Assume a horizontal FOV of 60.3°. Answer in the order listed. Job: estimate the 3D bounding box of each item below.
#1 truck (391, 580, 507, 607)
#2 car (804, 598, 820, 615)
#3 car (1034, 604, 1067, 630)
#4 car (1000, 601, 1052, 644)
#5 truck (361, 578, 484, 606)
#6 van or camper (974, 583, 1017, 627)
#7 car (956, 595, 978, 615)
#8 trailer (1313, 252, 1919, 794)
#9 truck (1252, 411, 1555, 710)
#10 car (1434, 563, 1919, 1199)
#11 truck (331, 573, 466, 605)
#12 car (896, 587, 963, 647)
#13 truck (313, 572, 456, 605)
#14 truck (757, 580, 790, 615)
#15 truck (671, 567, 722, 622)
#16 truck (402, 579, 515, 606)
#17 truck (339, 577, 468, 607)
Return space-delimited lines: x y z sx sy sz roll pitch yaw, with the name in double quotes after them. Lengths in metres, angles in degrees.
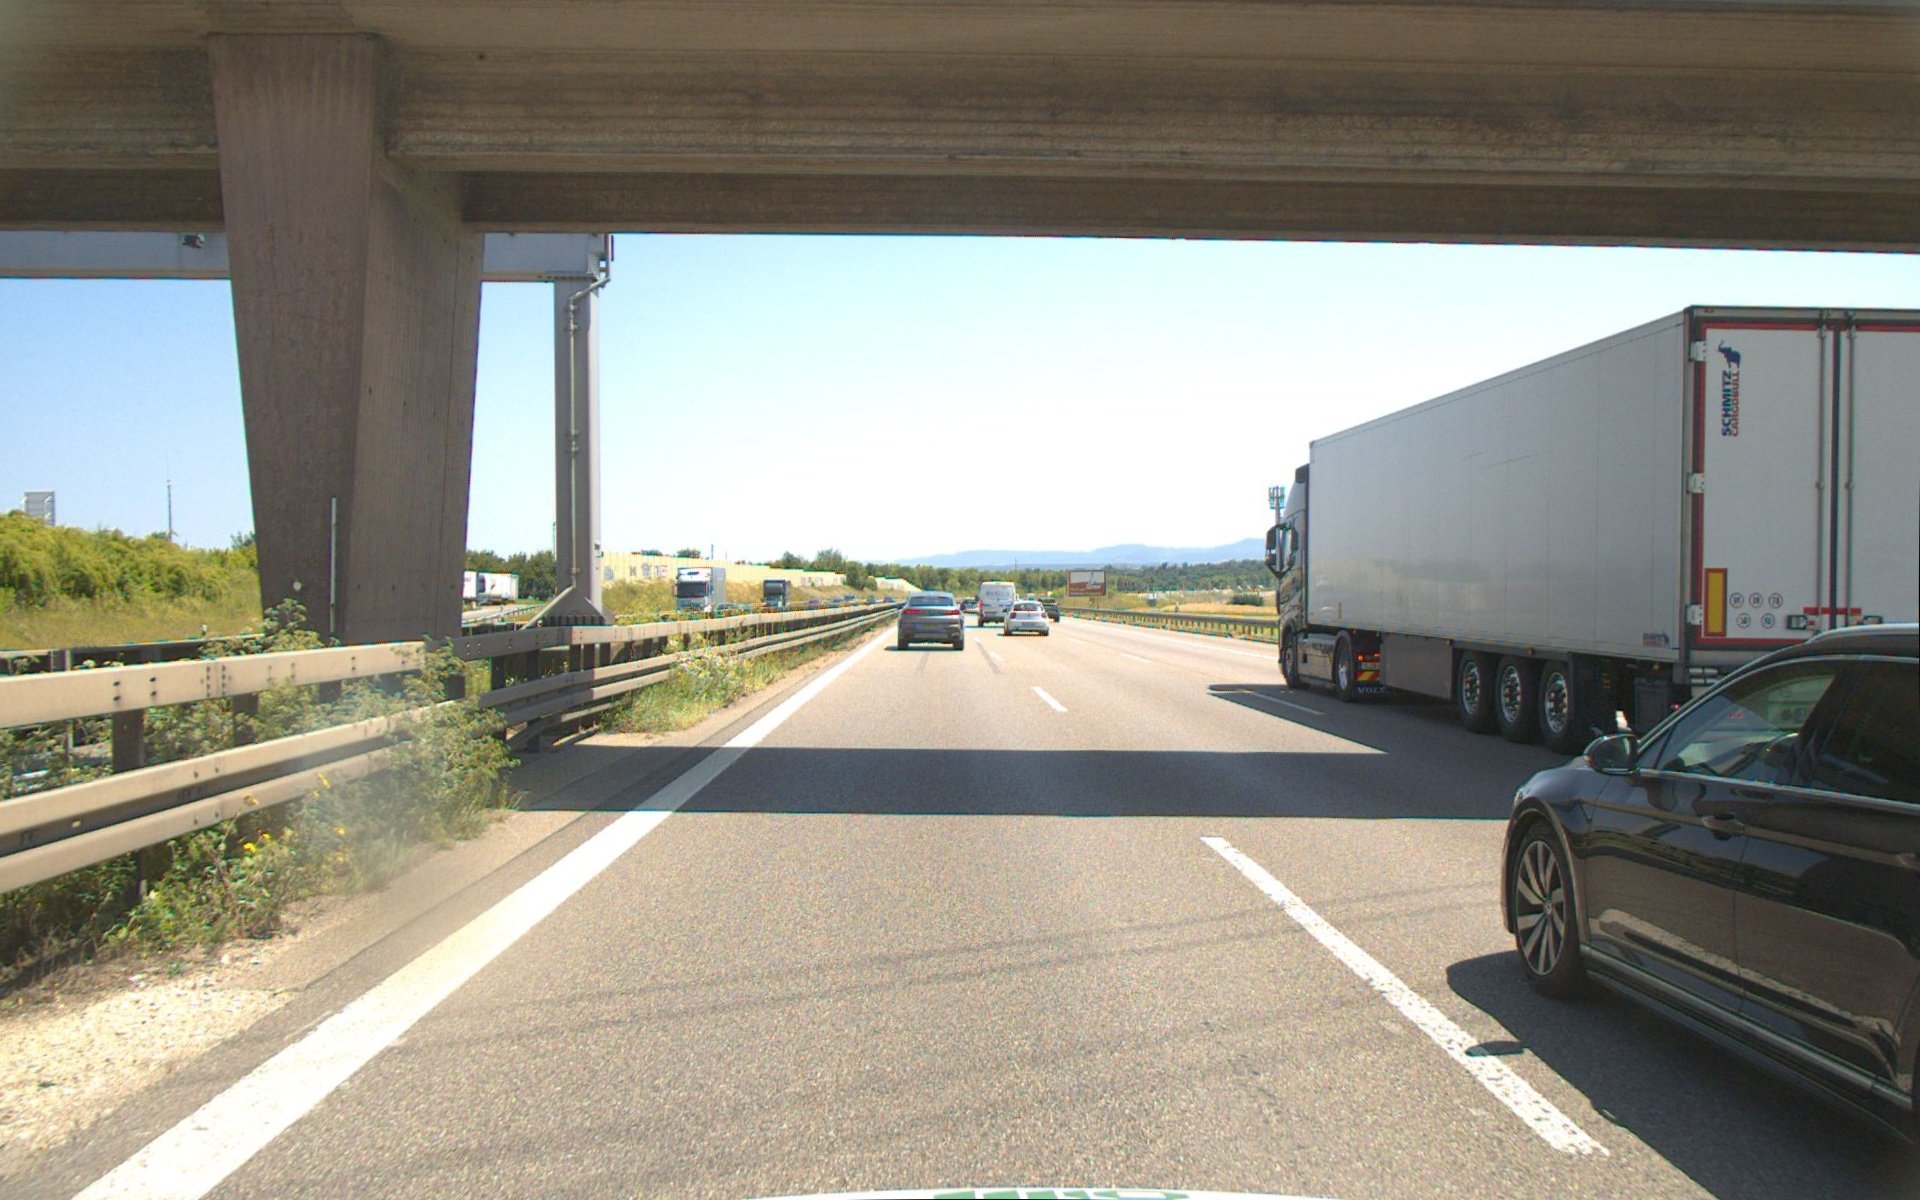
-64.165 -0.803 208.144 2.618 3.194 14.350 1 0 45 "truck"
-15.754 0.664 176.001 1.517 1.693 4.225 1 0 -4 "car"
6.164 1.135 113.244 1.953 1.712 3.999 1 0 -1 "car"
2.729 0.934 69.316 1.953 1.712 3.999 1 0 -1 "car"
-64.331 -0.919 198.416 2.618 3.194 14.350 1 0 45 "truck"
1.878 0.257 88.560 2.068 2.250 5.264 1 0 -1 "van or camper"
0.669 0.452 152.854 1.953 1.712 3.999 1 0 -1 "car"
7.258 -0.602 19.932 2.883 4.271 13.594 1 0 -1 "trailer"
7.147 -0.578 27.921 2.918 4.301 7.686 1 0 -1 "truck"
3.102 0.731 4.851 1.894 1.602 4.933 1 0 -1 "car"
-61.138 -1.180 180.619 2.618 3.194 14.350 1 0 45 "truck"
-0.939 0.489 49.037 1.814 1.693 3.732 1 0 -4 "car"
-59.841 -1.156 172.409 2.618 3.194 14.350 1 0 45 "truck"
-20.069 -0.225 178.083 2.838 3.626 10.447 1 0 -3 "truck"
-18.787 -0.384 118.146 2.684 3.743 5.897 1 0 -1 "truck"
-64.406 -0.923 212.846 2.618 3.194 14.350 1 0 45 "truck"
-63.425 -0.851 188.948 2.618 3.194 14.350 1 0 45 "truck"
